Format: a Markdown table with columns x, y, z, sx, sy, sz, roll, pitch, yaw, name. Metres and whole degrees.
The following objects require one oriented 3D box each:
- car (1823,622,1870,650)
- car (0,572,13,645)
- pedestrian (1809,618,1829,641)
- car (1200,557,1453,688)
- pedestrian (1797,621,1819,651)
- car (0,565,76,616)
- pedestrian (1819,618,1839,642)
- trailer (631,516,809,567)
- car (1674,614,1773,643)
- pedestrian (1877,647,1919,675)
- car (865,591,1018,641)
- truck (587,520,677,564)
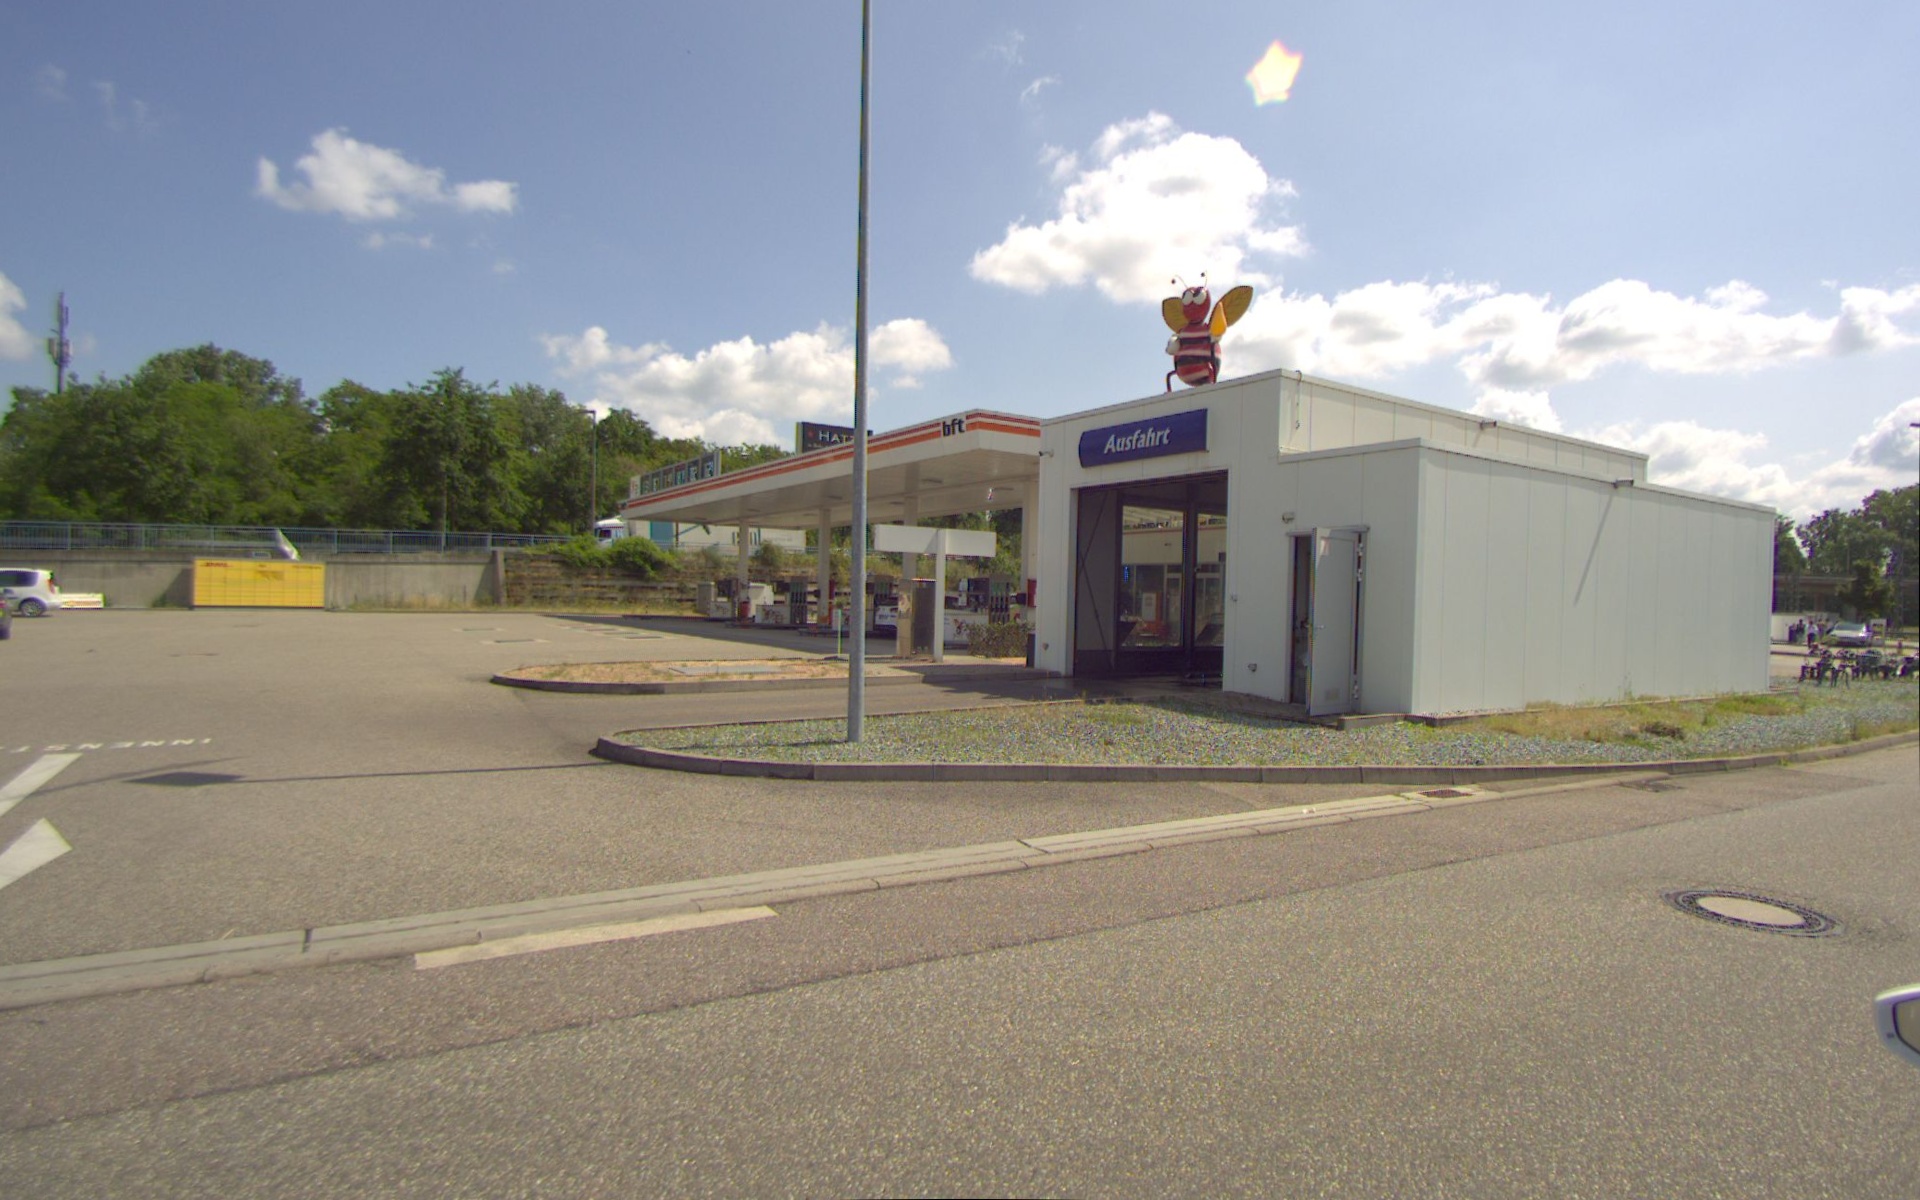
| x | y | z | sx | sy | sz | roll | pitch | yaw | name |
| --- | --- | --- | --- | --- | --- | --- | --- | --- | --- |
| 57.918 | 2.314 | 65.614 | 4.742 | 1.538 | 1.912 | -1 | 2 | -44 | car |
| -22.677 | 0.122 | 22.554 | 4.469 | 1.508 | 1.911 | 3 | 1 | 45 | car |
| 59.487 | 2.026 | 69.593 | 0.699 | 1.586 | 0.759 | 1 | 0 | 2 | pedestrian |
| 6.920 | 0.434 | 18.754 | 4.962 | 2.137 | 1.980 | 2 | -1 | -36 | car |
| 48.168 | 2.038 | 57.037 | 0.853 | 1.675 | 0.935 | 2 | 0 | 44 | pedestrian |
| -32.273 | -0.341 | 33.361 | 4.278 | 1.624 | 1.977 | 2 | -1 | -40 | car |
| 59.472 | 2.027 | 68.730 | 0.708 | 1.600 | 0.713 | 1 | 0 | -8 | pedestrian |
| -17.966 | -4.318 | 76.368 | 13.364 | 3.004 | 2.129 | 2 | -1 | -36 | trailer |
| 45.987 | 1.708 | 60.555 | 4.503 | 1.544 | 1.988 | 2 | 0 | 44 | car |
| 28.275 | 1.840 | 30.204 | 0.810 | 0.770 | 0.856 | 3 | 0 | -36 | pedestrian |
| -0.550 | 0.517 | 31.889 | 4.534 | 1.450 | 1.882 | 2 | -1 | -31 | car |
| -23.607 | -4.118 | 72.341 | 5.789 | 2.661 | 2.129 | 2 | -1 | -36 | truck |
